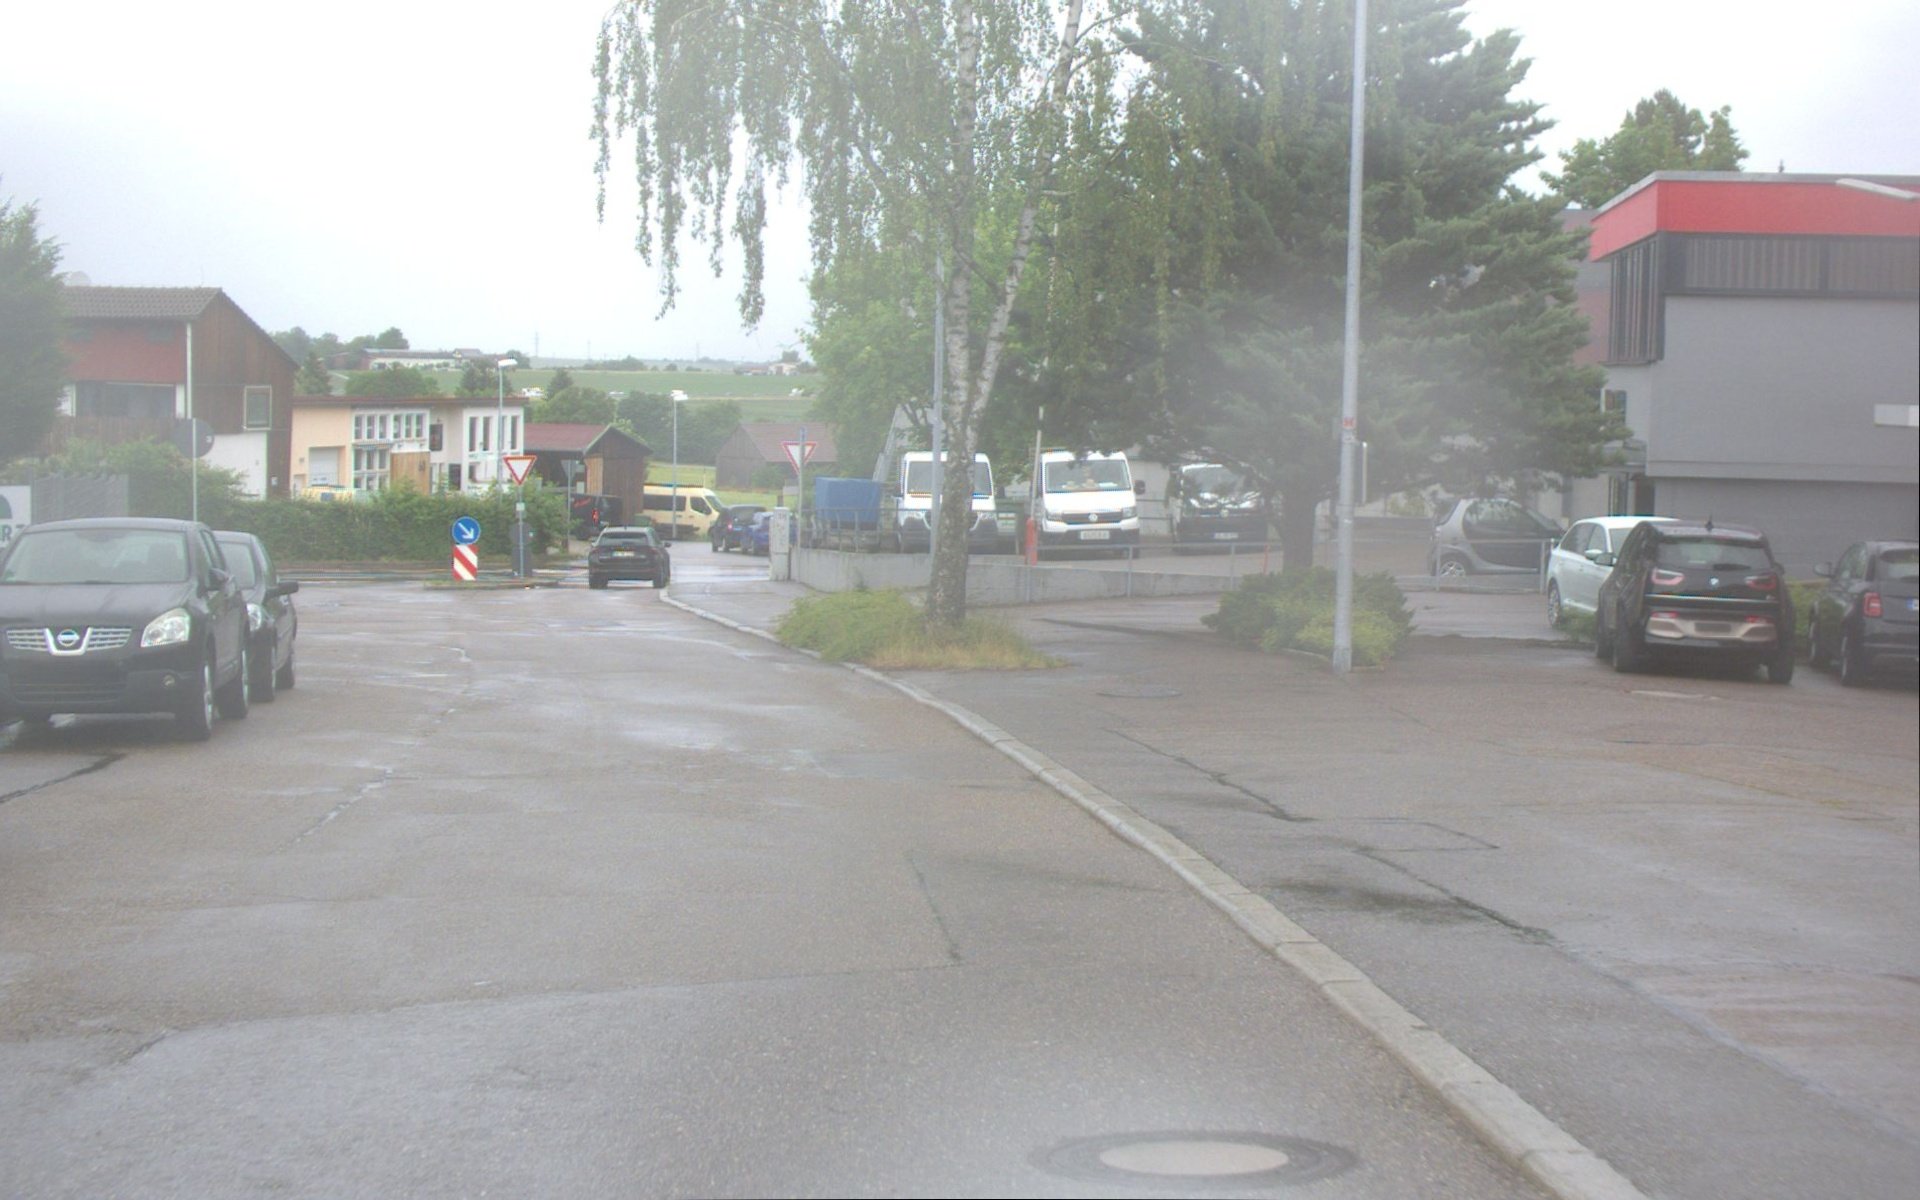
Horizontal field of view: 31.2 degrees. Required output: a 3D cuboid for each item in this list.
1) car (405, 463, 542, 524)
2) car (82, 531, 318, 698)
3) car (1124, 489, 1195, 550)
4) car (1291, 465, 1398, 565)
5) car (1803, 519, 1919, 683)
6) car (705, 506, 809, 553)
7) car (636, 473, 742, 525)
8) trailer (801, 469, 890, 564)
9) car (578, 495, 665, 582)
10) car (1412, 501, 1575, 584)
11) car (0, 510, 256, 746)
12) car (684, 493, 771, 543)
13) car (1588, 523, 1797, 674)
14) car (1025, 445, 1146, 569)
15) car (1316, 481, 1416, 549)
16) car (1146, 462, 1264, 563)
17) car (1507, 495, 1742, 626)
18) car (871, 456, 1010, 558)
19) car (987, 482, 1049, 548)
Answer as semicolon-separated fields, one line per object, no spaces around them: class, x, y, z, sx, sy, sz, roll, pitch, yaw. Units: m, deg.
car;-15.758;-3.451;111.392;3.988;1.875;2.000;1;1;6
car;-6.835;0.116;31.236;1.631;1.389;4.001;1;0;-6
car;4.530;-1.829;78.348;1.398;1.321;2.701;1;0;-1
car;8.114;-1.765;72.717;1.781;2.007;3.633;1;0;-1
car;10.185;0.019;36.675;1.739;1.648;3.999;1;0;6
car;-6.987;-2.404;118.181;2.460;1.534;4.001;1;0;-21
car;-12.047;-4.488;152.857;4.243;2.218;1.999;1;0;12
trailer;-2.528;-1.850;76.059;1.852;2.007;4.001;1;1;-2
car;-8.200;-1.475;83.480;1.869;2.022;4.000;1;0;-3
car;9.035;-0.978;58.346;2.548;1.347;1.242;1;1;1
car;-6.301;0.140;25.701;1.700;1.604;4.001;0;2;-7
car;-8.400;-2.930;123.919;1.993;1.698;4.001;1;0;-21
car;7.662;-0.018;36.267;1.697;1.470;3.999;1;0;6
car;2.591;-1.912;71.922;2.192;2.451;4.000;1;0;-2
car;9.244;-1.931;78.455;1.636;1.448;3.512;1;0;-4
car;5.144;-1.818;72.603;2.145;2.007;3.939;1;0;-1
car;8.379;-0.486;43.706;2.065;1.547;4.000;1;0;-2
car;-0.445;-1.915;71.807;2.264;2.007;4.001;1;0;-9
car;1.297;-1.915;77.686;1.290;1.419;2.546;1;0;-1
